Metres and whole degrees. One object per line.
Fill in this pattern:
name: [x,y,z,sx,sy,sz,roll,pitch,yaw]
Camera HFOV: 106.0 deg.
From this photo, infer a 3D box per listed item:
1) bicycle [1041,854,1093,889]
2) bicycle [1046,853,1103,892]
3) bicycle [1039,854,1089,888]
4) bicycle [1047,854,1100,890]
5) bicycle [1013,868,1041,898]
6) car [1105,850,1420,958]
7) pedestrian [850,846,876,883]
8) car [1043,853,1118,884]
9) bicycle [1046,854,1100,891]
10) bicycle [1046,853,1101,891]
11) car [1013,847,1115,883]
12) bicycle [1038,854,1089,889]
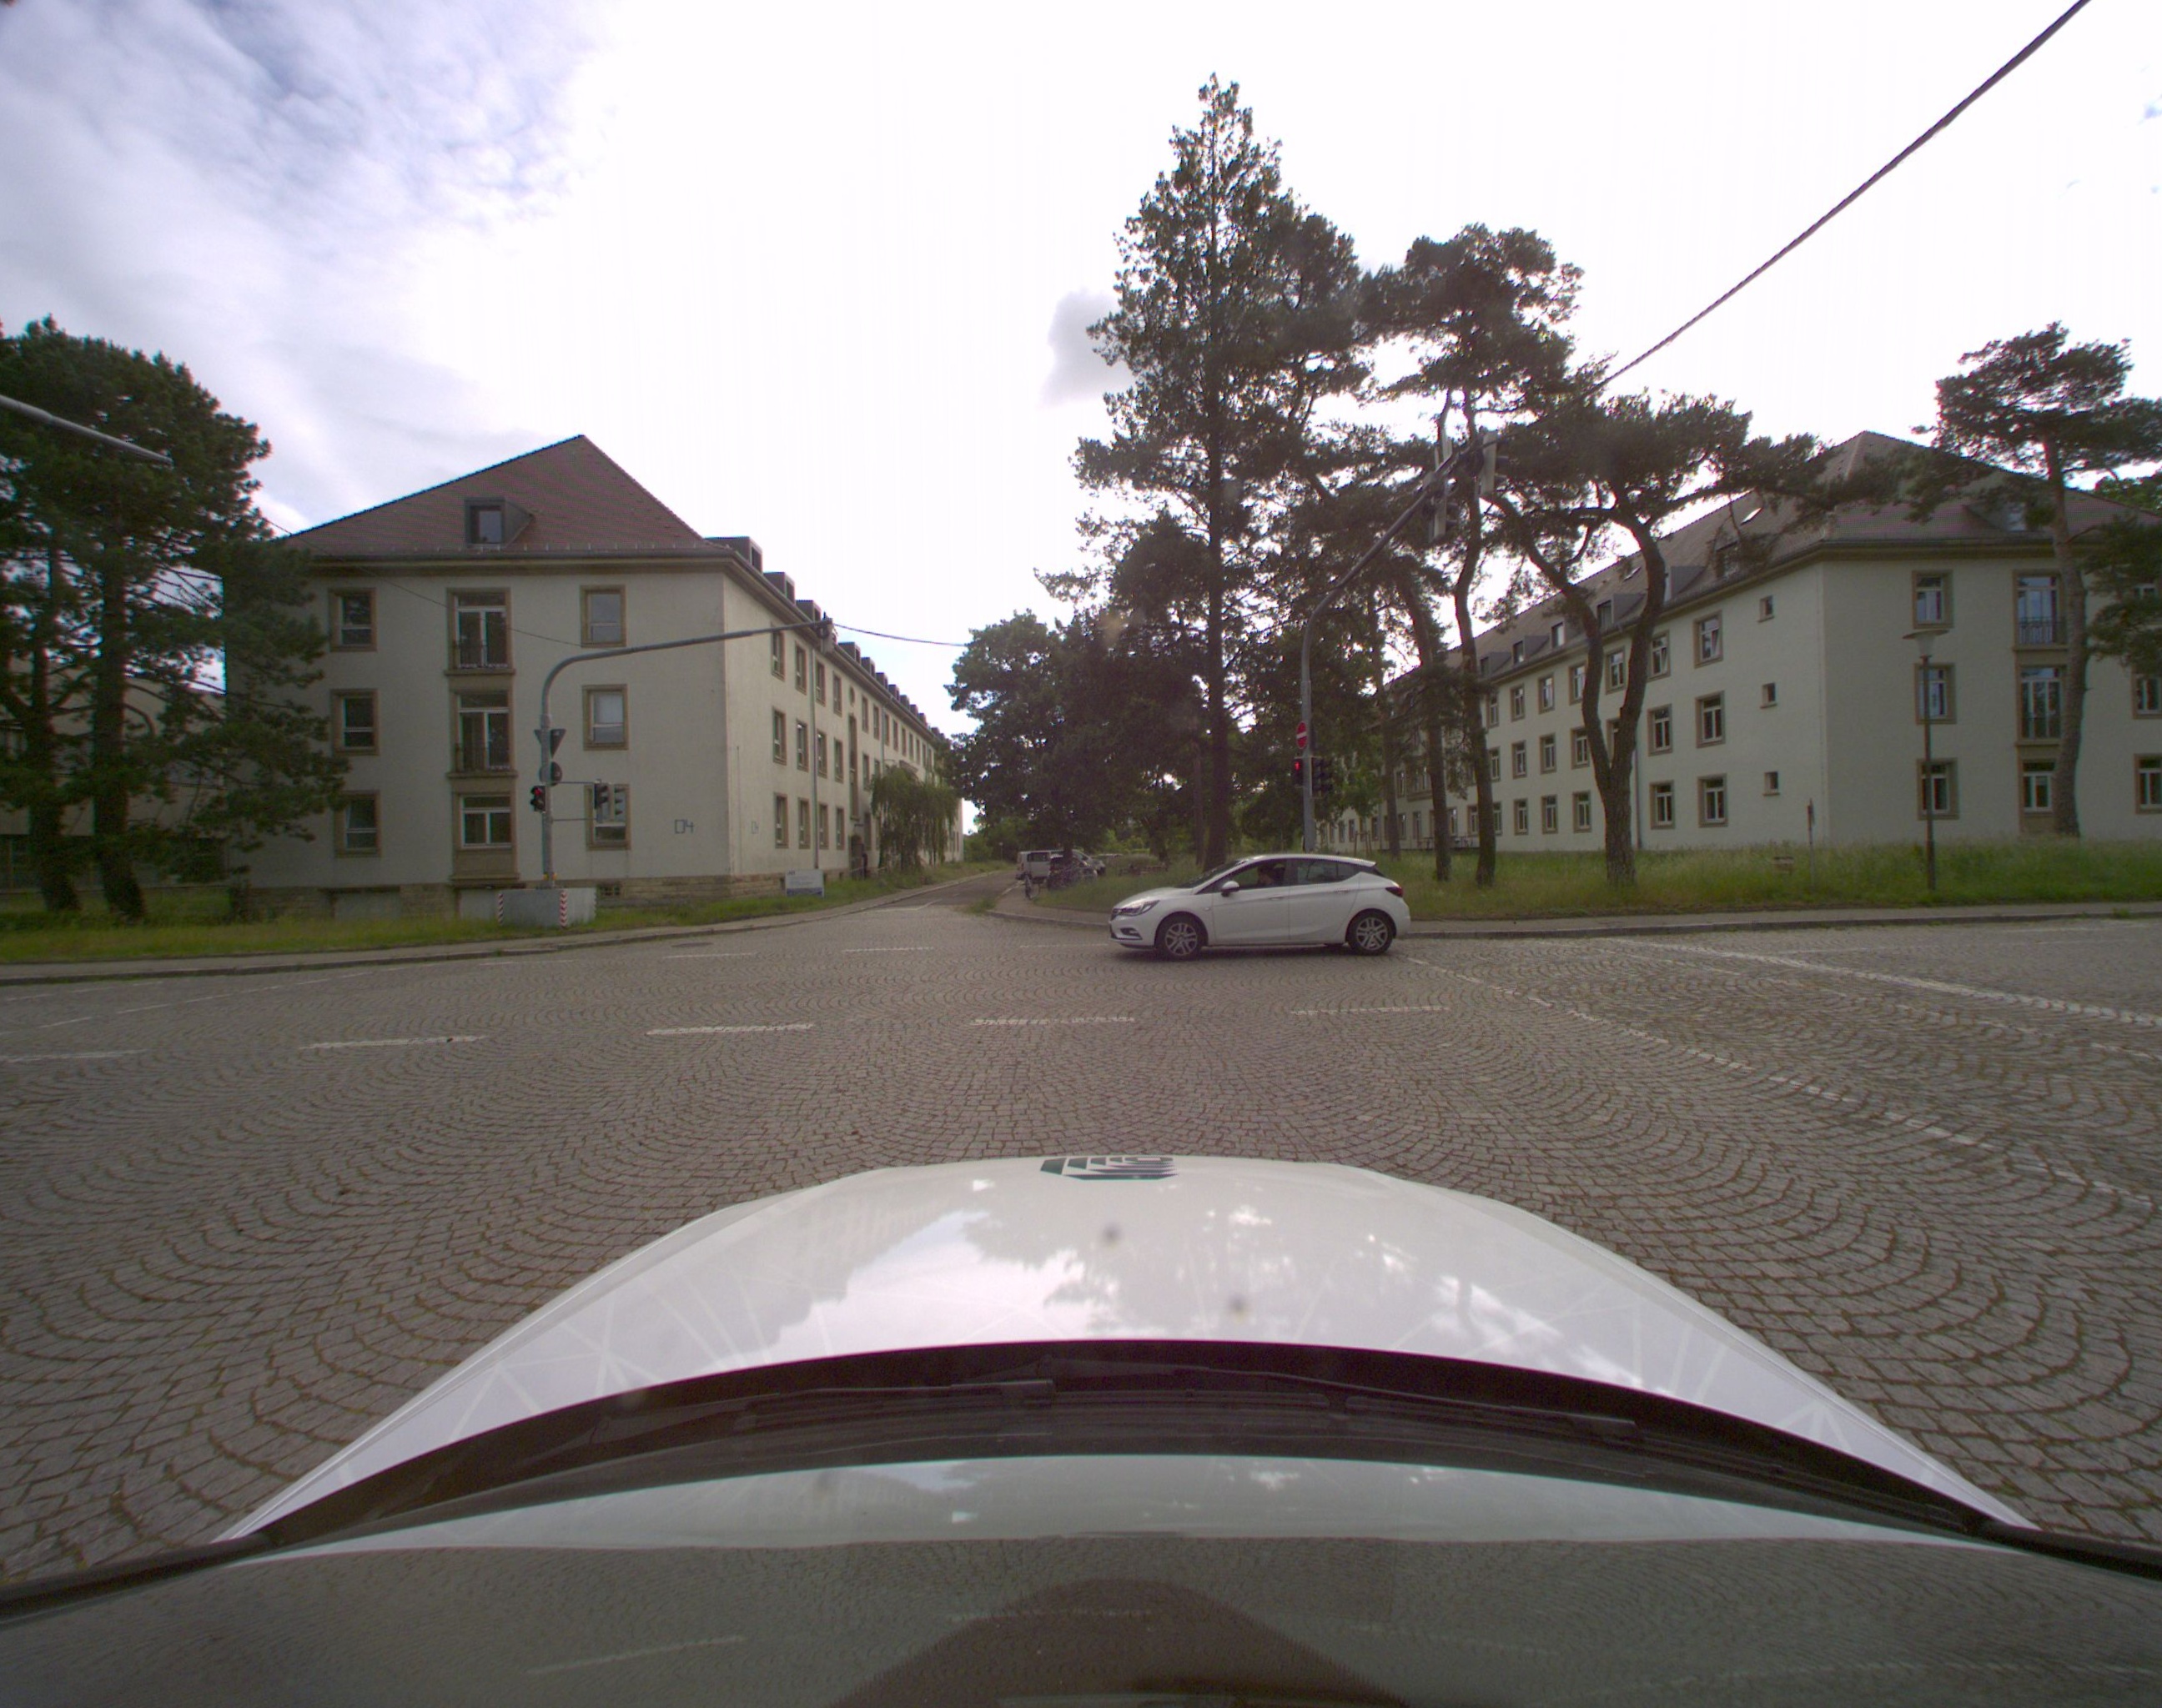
bicycle: [-0.548,0.708,33.224,2.063,1.378,0.620,-2,0,-1]
bicycle: [-0.230,0.689,30.343,2.063,1.378,0.620,-2,0,-1]
bicycle: [-0.713,0.721,34.705,2.063,1.378,0.620,-2,0,-1]
bicycle: [-0.308,0.705,32.433,2.063,1.378,0.620,-2,0,-1]
bicycle: [-1.880,1.006,28.499,0.615,0.963,2.080,-2,0,6]
car: [2.526,0.685,12.091,4.232,1.416,1.887,-1,0,-2]
pedestrian: [-12.135,0.598,45.409,1.082,2.013,1.023,-2,0,4]
car: [-0.069,0.765,44.866,3.927,1.544,1.996,-2,0,-6]
bicycle: [-0.301,0.699,31.636,2.063,1.378,0.620,-2,0,-1]
bicycle: [-0.286,0.694,31.012,2.063,1.378,0.620,-2,0,-1]
car: [-1.026,0.645,48.210,5.699,1.910,2.220,-2,0,-14]
bicycle: [-0.713,0.714,33.958,2.063,1.378,0.620,-2,0,-1]
